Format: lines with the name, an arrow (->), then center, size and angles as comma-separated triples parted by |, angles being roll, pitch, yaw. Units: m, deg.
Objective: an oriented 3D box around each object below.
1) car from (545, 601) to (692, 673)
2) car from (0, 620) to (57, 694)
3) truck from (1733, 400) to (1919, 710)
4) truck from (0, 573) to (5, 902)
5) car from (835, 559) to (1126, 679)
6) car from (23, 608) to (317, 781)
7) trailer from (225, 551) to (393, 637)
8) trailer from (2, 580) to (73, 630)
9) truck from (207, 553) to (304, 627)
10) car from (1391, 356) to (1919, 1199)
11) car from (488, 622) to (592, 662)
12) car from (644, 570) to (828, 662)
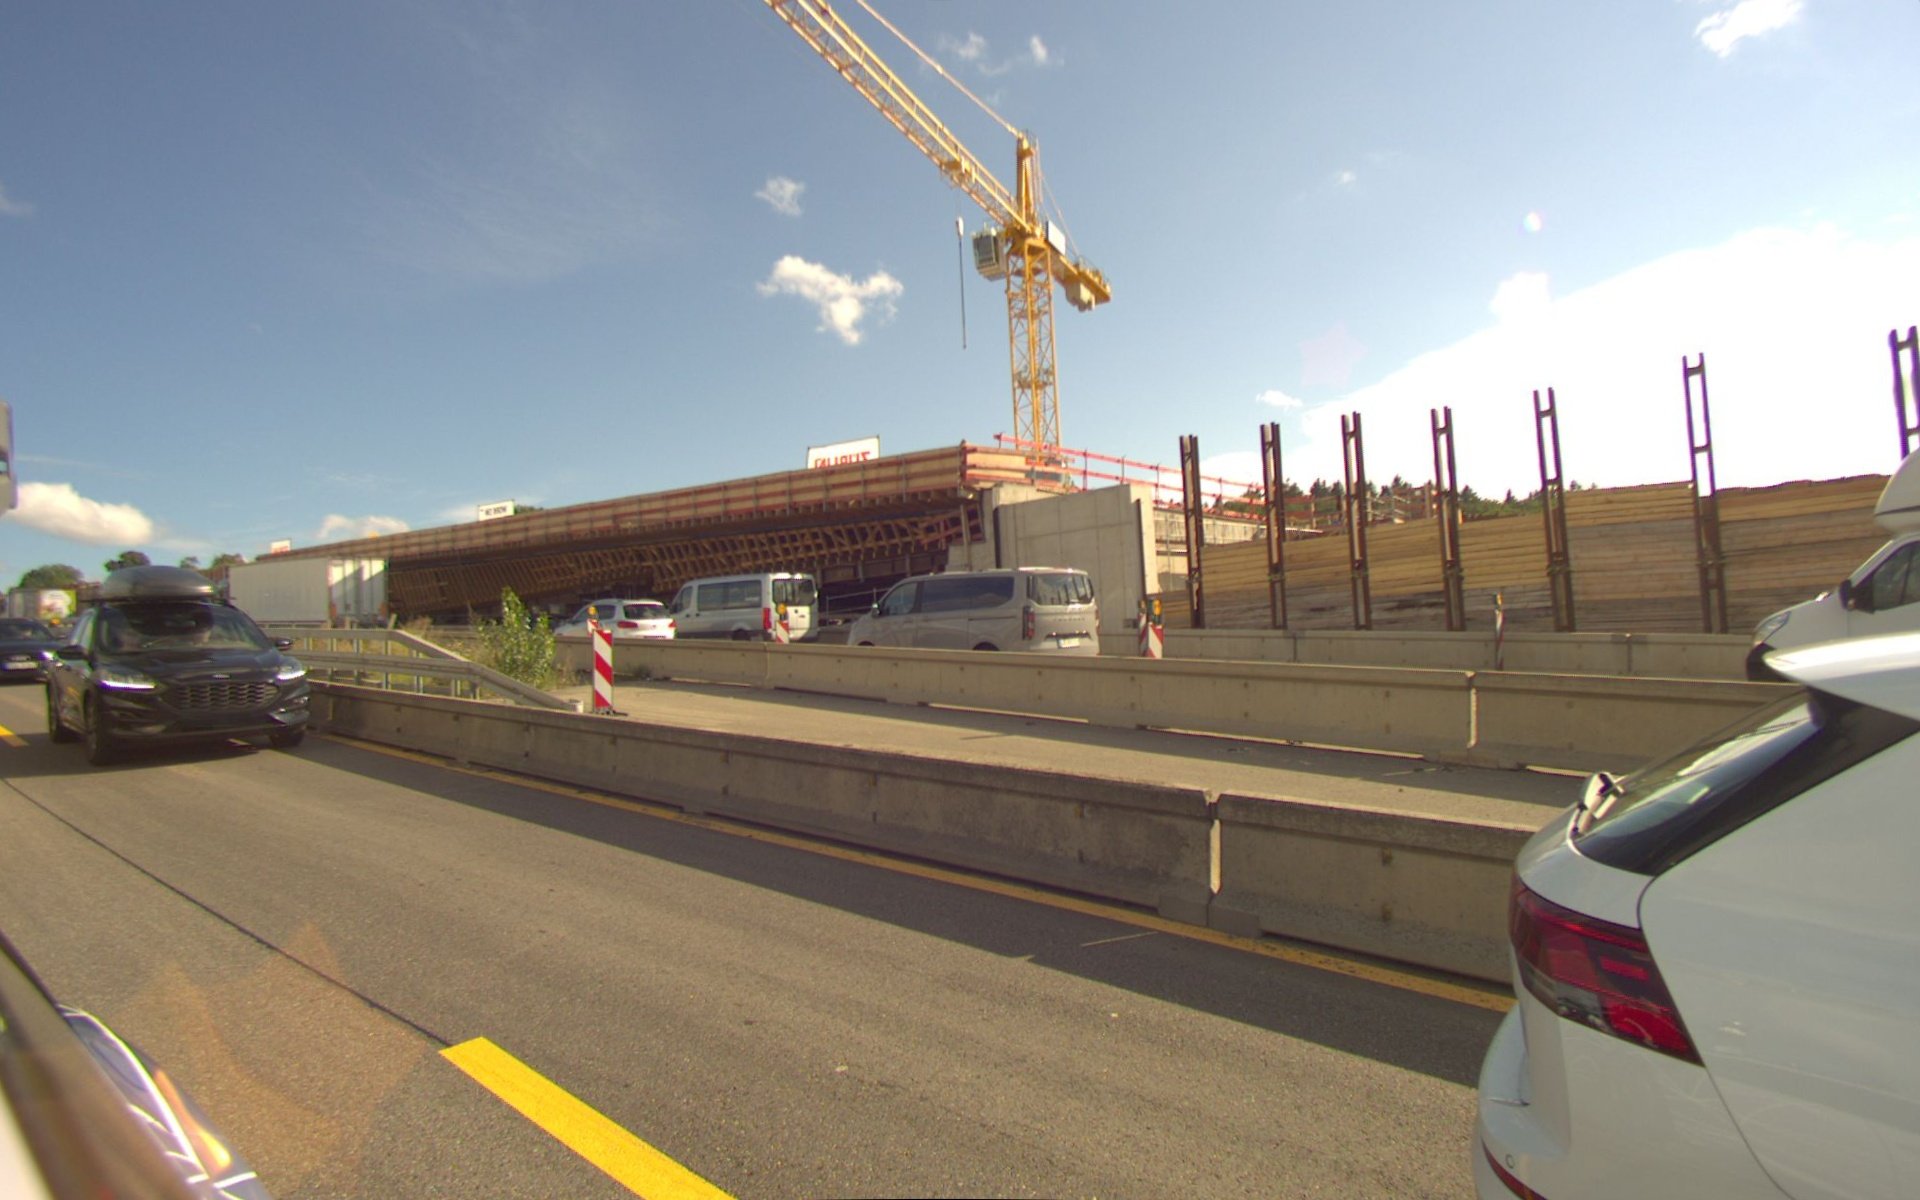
car -> -9.200, 0.960, 27.089 | 2.101, 1.686, 4.276 | -3, 0, -43
car -> -21.737, 1.240, 22.679 | 4.506, 1.441, 1.922 | 0, 1, 44
truck -> 12.696, -0.500, 10.052 | 2.666, 3.336, 7.552 | -1, 0, -38
truck -> -9.476, -0.419, 7.274 | 10.309, 3.876, 2.630 | 0, 0, 40
car -> 0.200, 0.314, 17.623 | 2.101, 1.779, 5.035 | -3, 0, -43
car -> -9.021, 0.900, 11.417 | 4.381, 1.554, 1.781 | -1, 0, 41
trailer -> -33.157, -0.267, 51.143 | 13.785, 3.870, 2.794 | 0, 0, 38
trailer -> -82.548, 0.423, 90.432 | 13.796, 4.187, 2.661 | 0, 0, 39
truck -> -38.698, -0.511, 55.536 | 6.010, 3.817, 2.750 | 0, 0, 38
car -> 2.887, 0.502, 0.636 | 4.515, 1.502, 1.751 | 0, -1, 41
car -> -15.284, 1.496, 36.753 | 3.997, 1.282, 1.900 | 0, 0, 40
car -> -6.630, 0.417, 29.541 | 5.865, 2.420, 2.234 | 0, 0, 42
